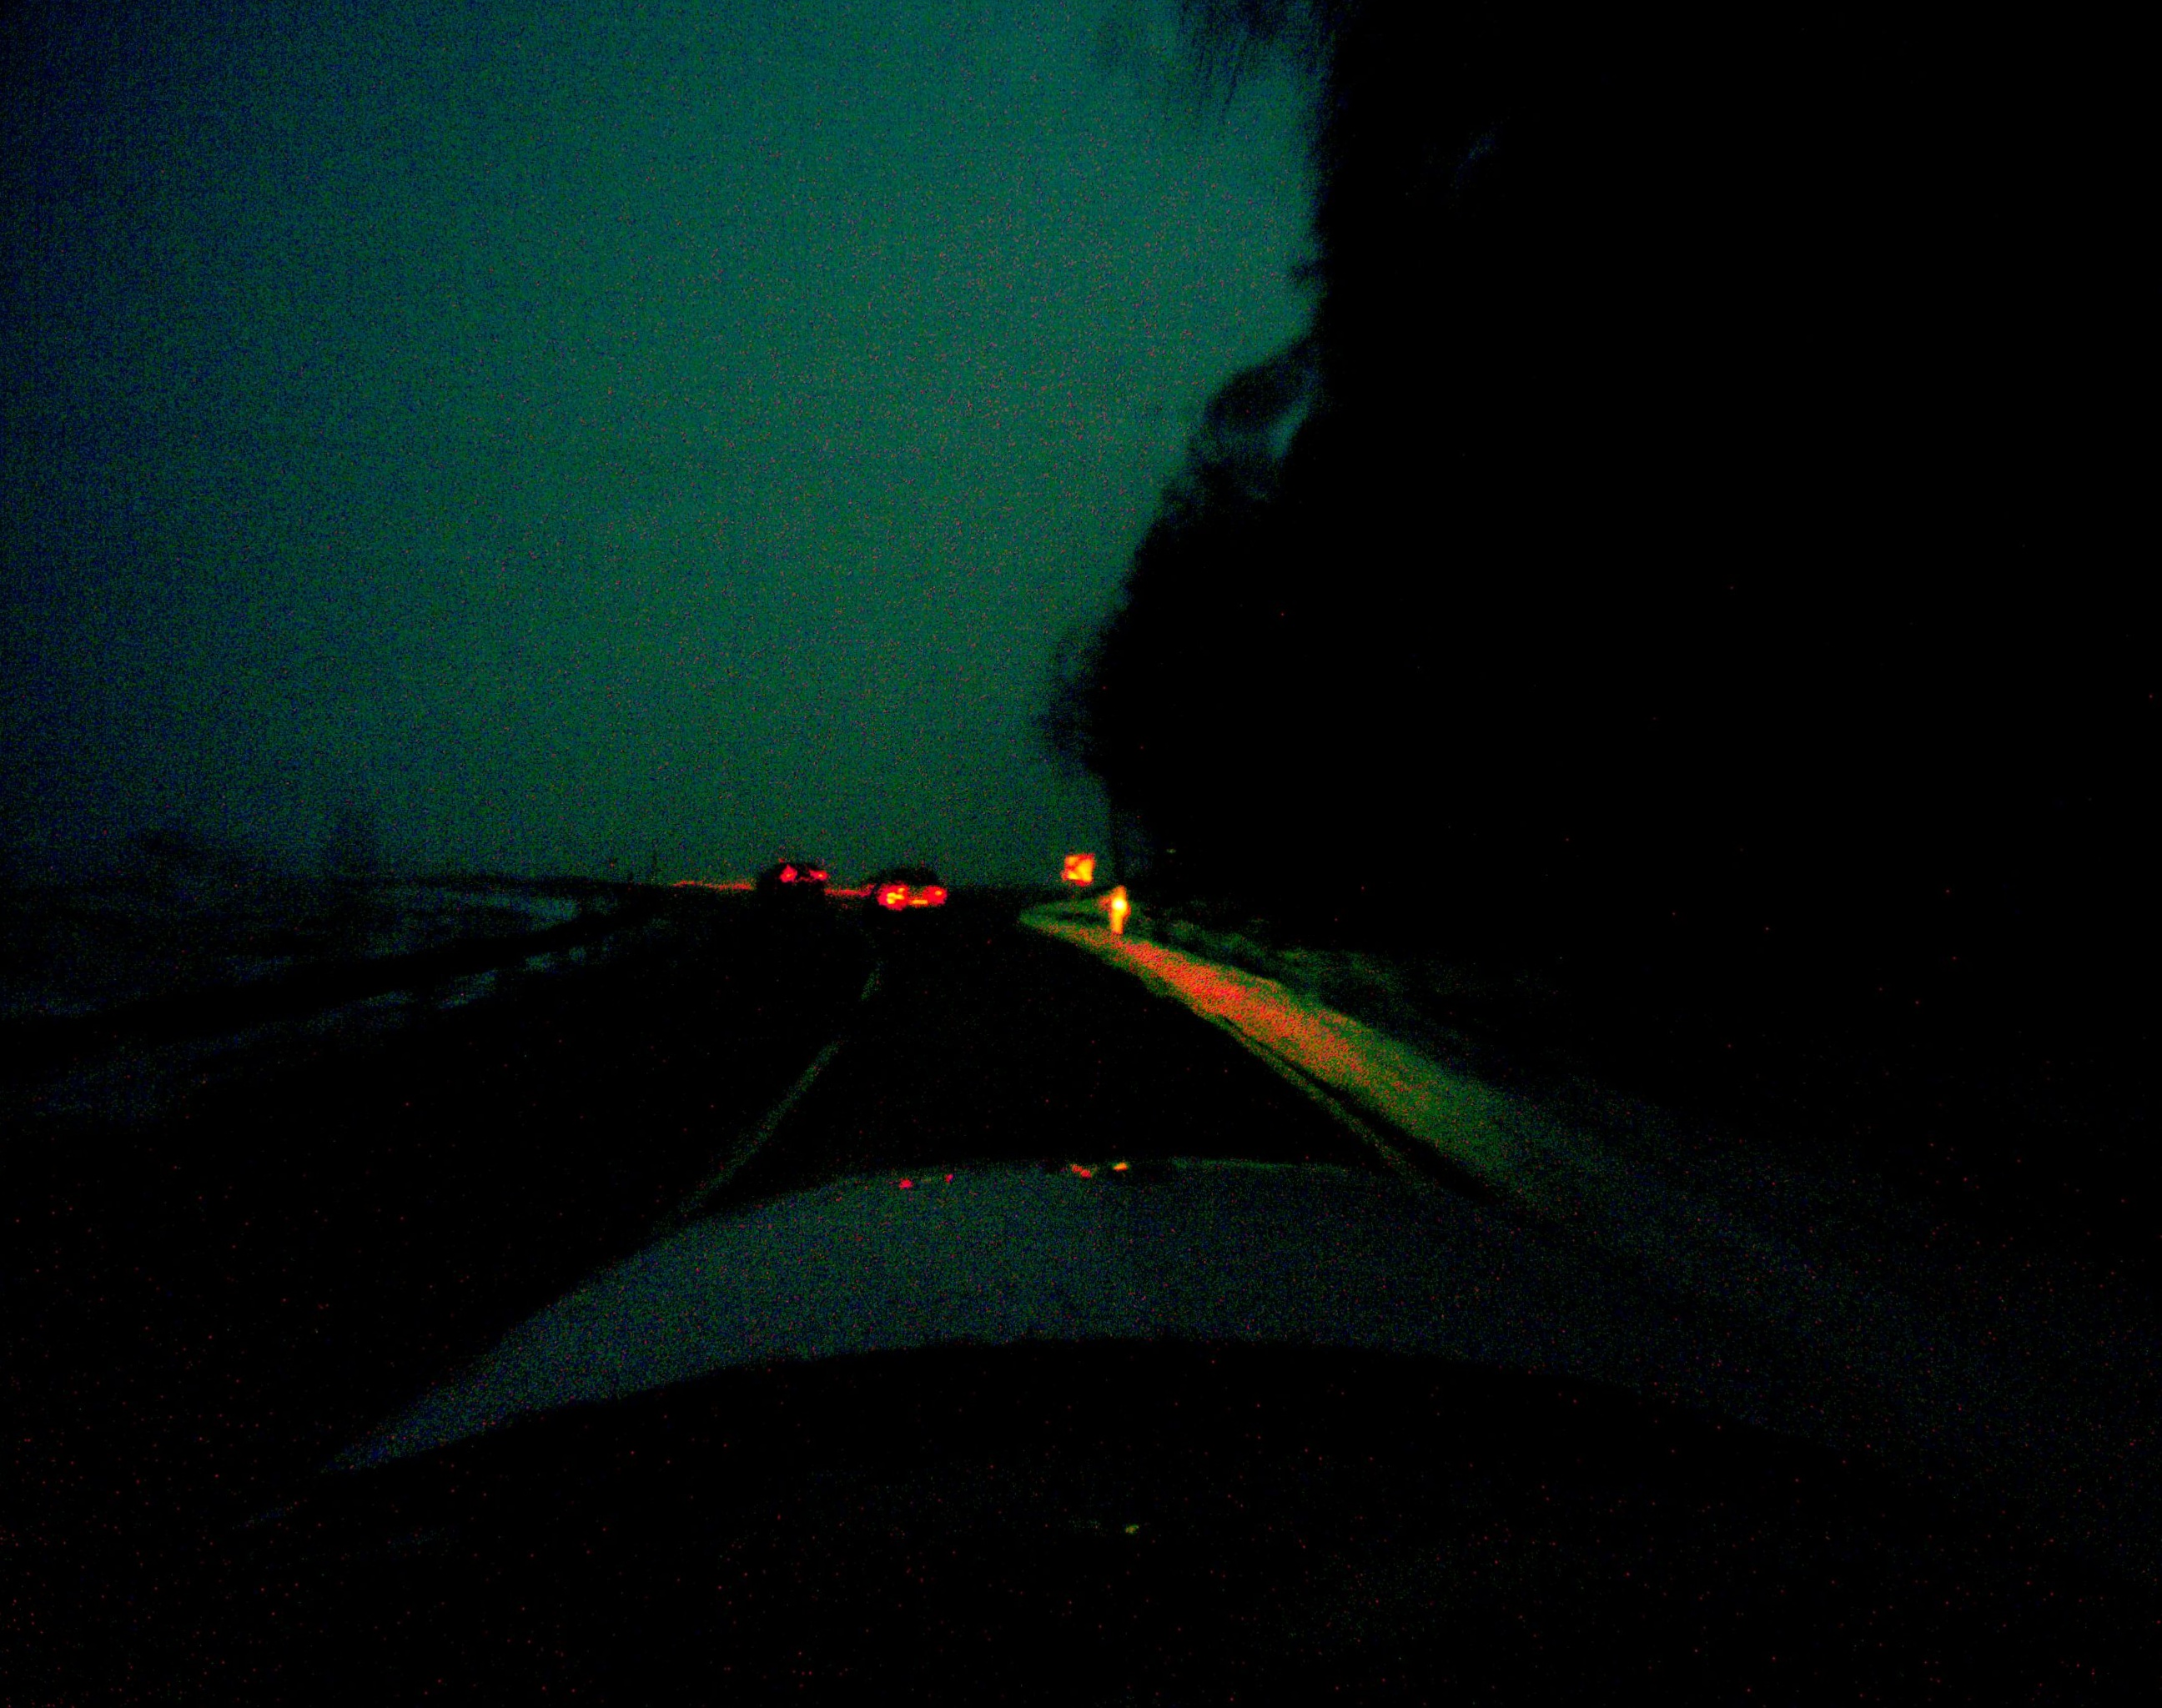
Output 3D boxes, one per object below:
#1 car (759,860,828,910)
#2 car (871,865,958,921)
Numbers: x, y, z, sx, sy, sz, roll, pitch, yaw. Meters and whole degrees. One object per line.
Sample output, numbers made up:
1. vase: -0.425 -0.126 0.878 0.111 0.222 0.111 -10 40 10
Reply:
1. car: -11.628 1.182 32.775 2.005 1.783 3.963 -2 0 -28
2. car: -4.839 1.032 23.239 1.951 1.381 3.974 -1 0 -19
